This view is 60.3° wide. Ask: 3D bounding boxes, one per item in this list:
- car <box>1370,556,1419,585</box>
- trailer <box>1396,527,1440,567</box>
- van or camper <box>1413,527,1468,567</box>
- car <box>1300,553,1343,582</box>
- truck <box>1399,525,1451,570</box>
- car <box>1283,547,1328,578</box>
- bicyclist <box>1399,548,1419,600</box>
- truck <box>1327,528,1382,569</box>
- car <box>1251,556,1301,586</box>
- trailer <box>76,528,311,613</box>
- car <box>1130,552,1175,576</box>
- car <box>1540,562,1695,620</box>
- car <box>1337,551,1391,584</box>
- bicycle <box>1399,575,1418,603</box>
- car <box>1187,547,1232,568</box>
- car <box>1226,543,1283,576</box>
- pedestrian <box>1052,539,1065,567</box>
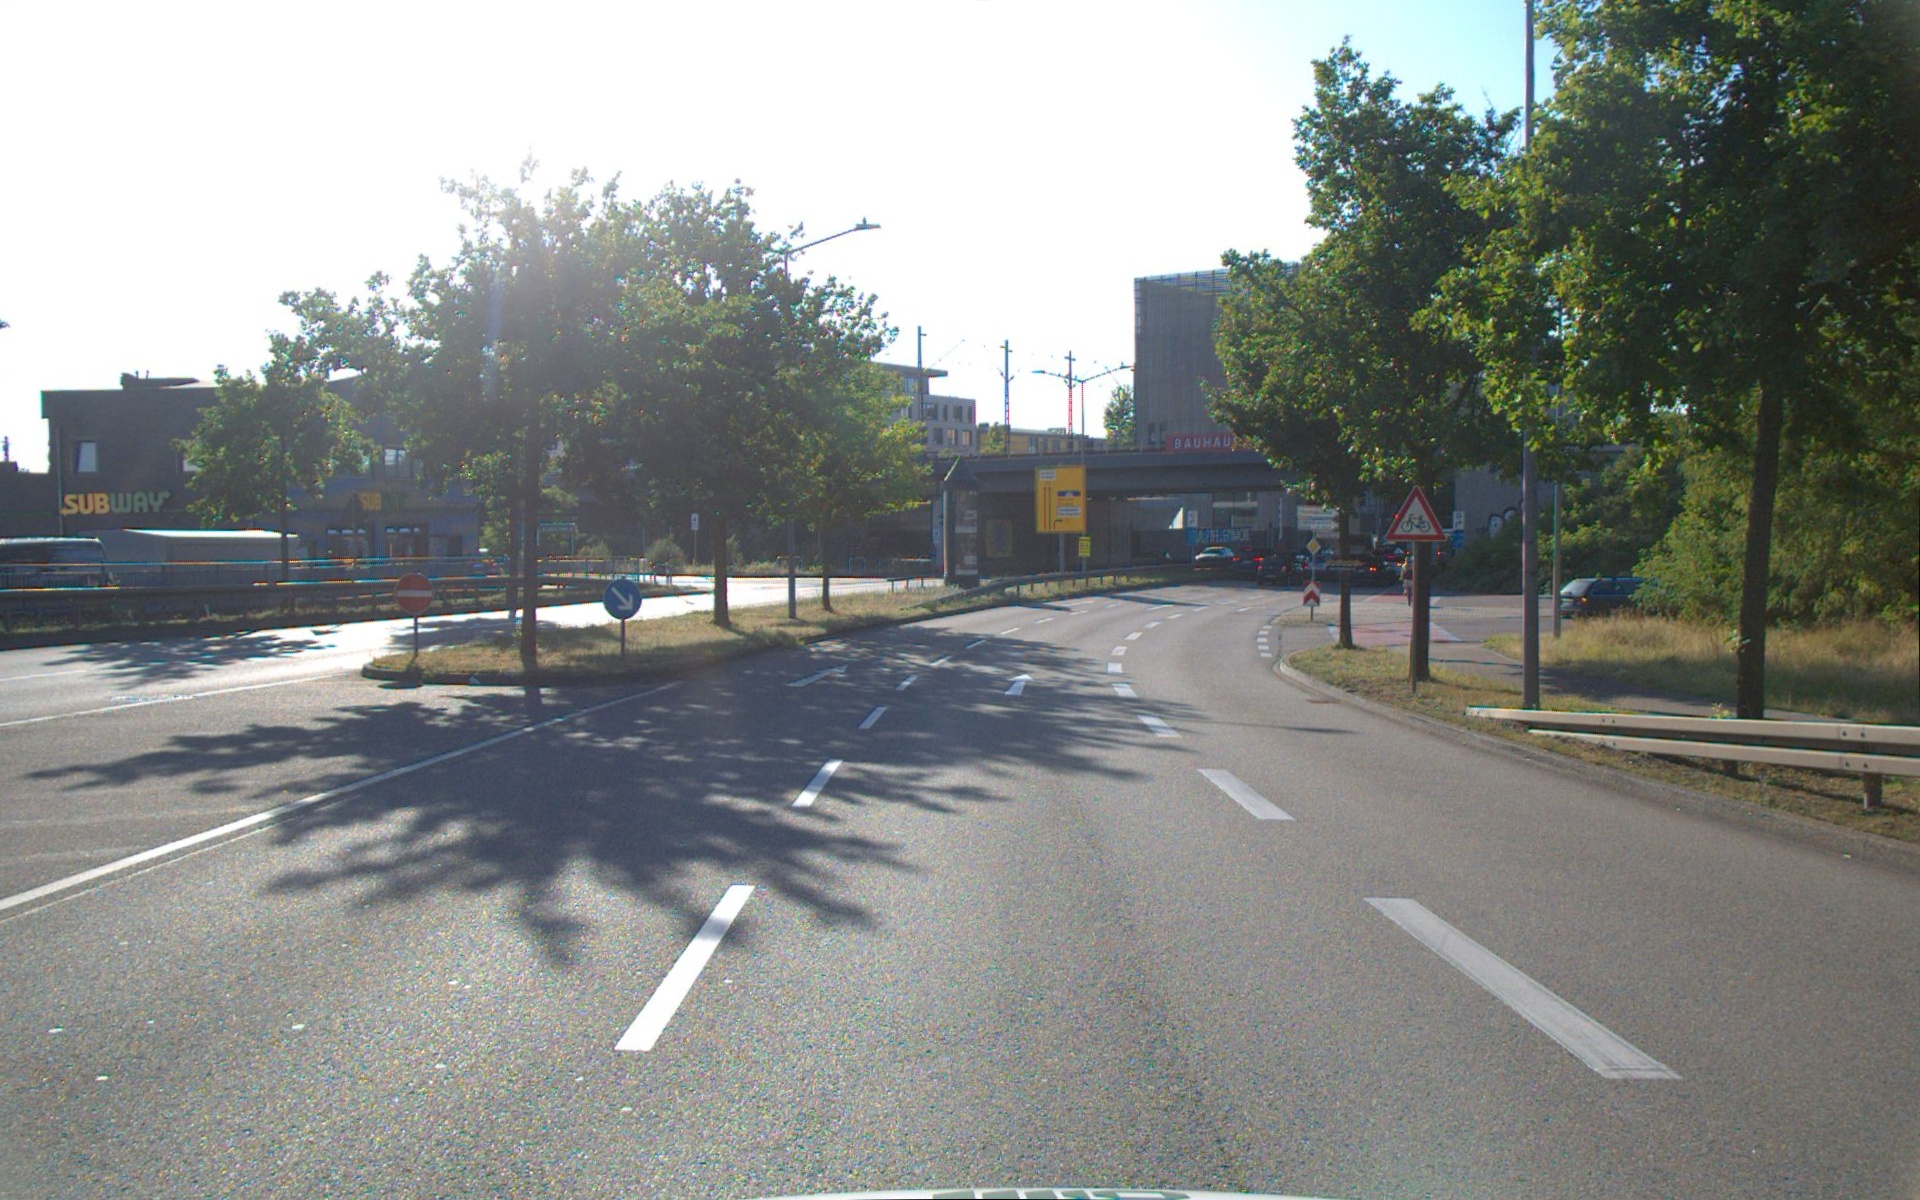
[{"bbox_3d":[23.828,-1.608,90.557,1.739,1.521,3.826,0,1,29],"label":"car"},{"bbox_3d":[29.645,-3.435,107.056,1.830,2.507,3.824,0,1,31],"label":"trailer"},{"bbox_3d":[32.584,-3.591,112.058,1.958,2.615,5.901,1,2,33],"label":"van or camper"},{"bbox_3d":[19.583,-1.756,89.460,1.516,1.447,3.415,-2,1,25],"label":"car"},{"bbox_3d":[27.515,-3.051,97.812,2.071,2.563,4.395,1,1,28],"label":"truck"},{"bbox_3d":[20.998,-2.290,100.396,1.804,1.749,3.999,-2,1,24],"label":"car"},{"bbox_3d":[16.885,-0.991,62.239,0.667,1.940,0.834,1,2,14],"label":"bicyclist"},{"bbox_3d":[25.481,-3.342,106.780,1.990,2.601,5.528,1,2,30],"label":"truck"},{"bbox_3d":[15.885,-1.458,82.919,1.550,1.433,3.830,2,2,25],"label":"car"},{"bbox_3d":[-19.472,-0.771,42.503,2.368,2.004,6.611,1,1,7],"label":"trailer"},{"bbox_3d":[12.153,-2.275,104.442,1.706,1.488,3.763,1,1,25],"label":"car"},{"bbox_3d":[19.772,-0.280,49.789,3.922,1.534,1.992,-3,0,-16],"label":"car"},{"bbox_3d":[20.629,-1.681,84.359,1.707,1.479,4.602,2,4,26],"label":"car"},{"bbox_3d":[16.907,-0.421,62.357,0.566,0.980,2.889,1,2,13],"label":"bicycle"},{"bbox_3d":[18.393,-3.134,121.844,1.643,1.488,4.093,1,1,34],"label":"car"},{"bbox_3d":[15.883,-2.191,89.066,1.794,1.768,4.457,1,2,27],"label":"car"},{"bbox_3d":[6.887,-3.318,115.983,0.681,1.936,0.663,1,2,31],"label":"pedestrian"}]
